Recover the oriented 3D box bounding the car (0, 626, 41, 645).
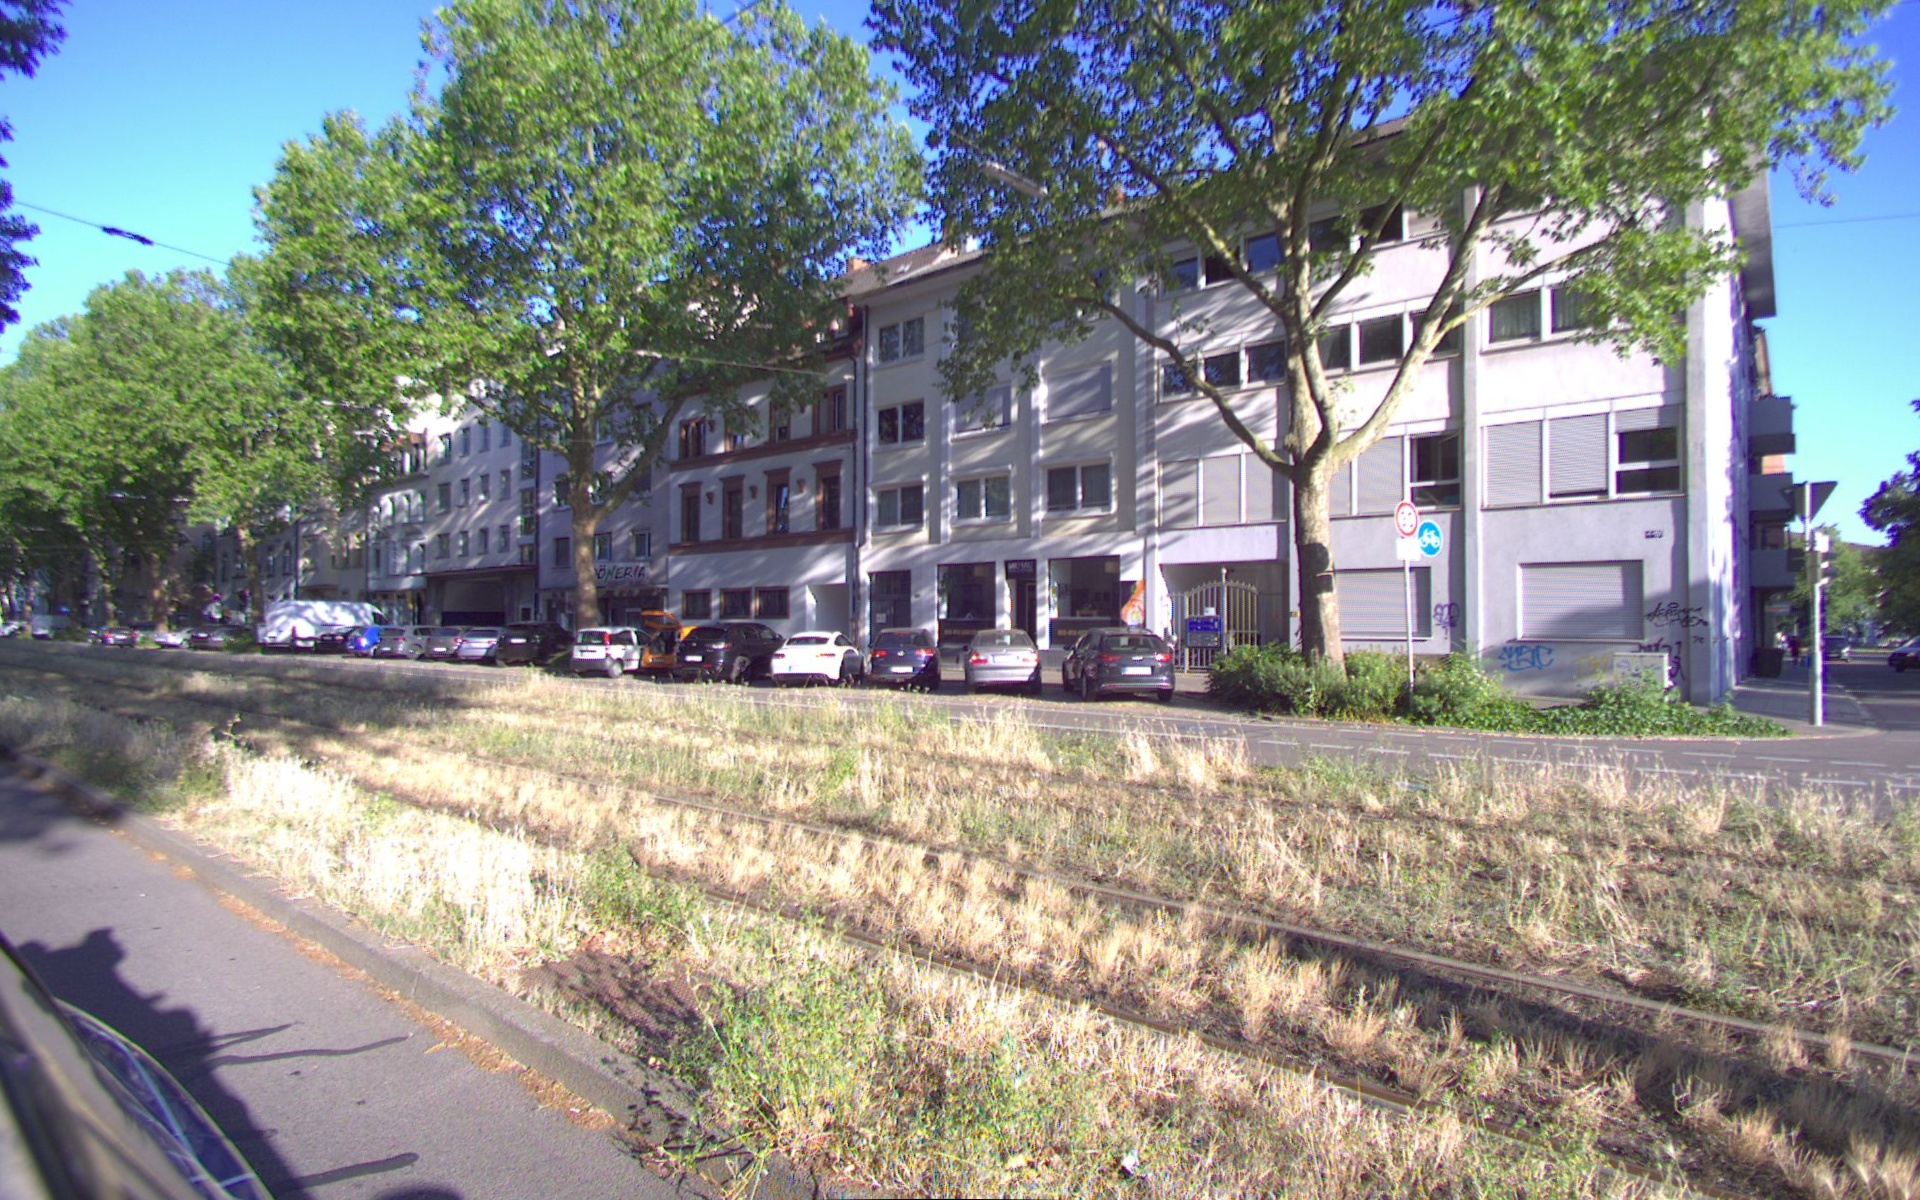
[{"bbox_3d":[-107.387,4.007,115.157,1.971,2.029,4.002,-1,0,-2],"label":"car"}]

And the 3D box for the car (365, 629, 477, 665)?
[{"bbox_3d":[-23.609,2.033,44.436,1.941,1.503,3.964,-1,-2,27],"label":"car"}]

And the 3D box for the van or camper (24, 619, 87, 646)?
[{"bbox_3d":[-88.329,3.114,98.895,2.171,2.418,4.364,-1,1,0],"label":"van or camper"}]

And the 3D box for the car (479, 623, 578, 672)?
[{"bbox_3d":[-15.689,1.691,37.019,1.972,1.673,4.000,-1,-1,-1],"label":"car"}]

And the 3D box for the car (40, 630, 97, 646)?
[{"bbox_3d":[-86.023,3.649,97.691,1.709,1.256,3.993,-1,1,6],"label":"car"}]

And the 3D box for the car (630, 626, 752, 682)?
[{"bbox_3d":[-8.369,1.638,31.795,1.764,1.490,3.974,-1,0,20],"label":"car"}]

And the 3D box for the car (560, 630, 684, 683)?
[{"bbox_3d":[-10.470,1.705,31.696,1.643,1.460,4.345,0,-1,14],"label":"car"}]

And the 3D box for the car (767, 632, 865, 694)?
[{"bbox_3d":[-3.702,1.590,26.688,1.700,1.343,4.200,-1,0,4],"label":"car"}]

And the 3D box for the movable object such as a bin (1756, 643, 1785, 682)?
[{"bbox_3d":[27.818,2.138,34.741,0.745,1.315,0.861,-1,-2,39],"label":"movable object such as a bin"}]

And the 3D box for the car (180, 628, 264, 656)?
[{"bbox_3d":[-45.537,2.626,62.549,1.912,1.605,4.155,0,-4,4],"label":"car"}]

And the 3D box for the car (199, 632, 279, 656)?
[{"bbox_3d":[-43.009,2.656,60.447,1.778,1.368,4.002,0,-3,3],"label":"car"}]

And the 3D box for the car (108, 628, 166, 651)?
[{"bbox_3d":[-63.517,3.055,78.208,1.703,1.666,4.008,0,-2,-10],"label":"car"}]

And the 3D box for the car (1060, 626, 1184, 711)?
[{"bbox_3d":[3.287,1.352,21.289,1.791,1.490,4.002,-1,0,-2],"label":"car"}]

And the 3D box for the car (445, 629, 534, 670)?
[{"bbox_3d":[-18.303,1.900,39.539,1.883,1.396,4.004,-1,-1,-5],"label":"car"}]

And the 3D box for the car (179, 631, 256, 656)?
[{"bbox_3d":[-47.736,2.803,65.177,1.803,1.545,3.994,0,-3,4],"label":"car"}]

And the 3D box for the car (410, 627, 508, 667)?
[{"bbox_3d":[-20.546,1.900,41.670,1.735,1.433,3.993,-1,0,6],"label":"car"}]

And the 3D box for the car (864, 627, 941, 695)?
[{"bbox_3d":[-1.448,1.477,25.683,1.776,1.452,4.002,-1,0,-3],"label":"car"}]

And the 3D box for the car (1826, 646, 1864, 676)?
[{"bbox_3d":[63.353,4.343,72.463,1.999,2.029,3.945,-1,-2,41],"label":"car"}]

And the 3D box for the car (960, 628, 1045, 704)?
[{"bbox_3d":[0.892,1.438,23.278,1.698,1.452,4.000,-1,0,-1],"label":"car"}]

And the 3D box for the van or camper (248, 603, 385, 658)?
[{"bbox_3d":[-33.117,1.575,52.370,2.162,2.666,5.929,-1,-2,19],"label":"van or camper"}]

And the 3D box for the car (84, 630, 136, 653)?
[{"bbox_3d":[-56.583,2.749,67.336,4.480,1.400,1.802,-1,-4,40],"label":"car"}]

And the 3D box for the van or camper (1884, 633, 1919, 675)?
[{"bbox_3d":[49.935,2.703,50.745,5.071,2.029,1.997,0,-2,6],"label":"van or camper"}]

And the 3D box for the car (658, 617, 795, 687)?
[{"bbox_3d":[-6.467,1.478,28.606,1.975,1.800,4.343,1,-3,14],"label":"car"}]

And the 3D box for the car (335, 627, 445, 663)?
[{"bbox_3d":[-25.936,2.018,46.165,1.854,1.431,3.951,-1,0,36],"label":"car"}]

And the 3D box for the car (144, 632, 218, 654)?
[{"bbox_3d":[-51.793,2.847,67.343,1.806,1.400,3.670,0,-2,9],"label":"car"}]

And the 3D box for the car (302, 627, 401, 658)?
[{"bbox_3d":[-30.752,2.151,51.258,1.984,1.502,3.975,-1,-2,18],"label":"car"}]

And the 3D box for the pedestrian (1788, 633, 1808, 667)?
[{"bbox_3d":[45.057,2.677,54.409,0.685,1.764,0.637,-1,-2,28],"label":"pedestrian"}]
